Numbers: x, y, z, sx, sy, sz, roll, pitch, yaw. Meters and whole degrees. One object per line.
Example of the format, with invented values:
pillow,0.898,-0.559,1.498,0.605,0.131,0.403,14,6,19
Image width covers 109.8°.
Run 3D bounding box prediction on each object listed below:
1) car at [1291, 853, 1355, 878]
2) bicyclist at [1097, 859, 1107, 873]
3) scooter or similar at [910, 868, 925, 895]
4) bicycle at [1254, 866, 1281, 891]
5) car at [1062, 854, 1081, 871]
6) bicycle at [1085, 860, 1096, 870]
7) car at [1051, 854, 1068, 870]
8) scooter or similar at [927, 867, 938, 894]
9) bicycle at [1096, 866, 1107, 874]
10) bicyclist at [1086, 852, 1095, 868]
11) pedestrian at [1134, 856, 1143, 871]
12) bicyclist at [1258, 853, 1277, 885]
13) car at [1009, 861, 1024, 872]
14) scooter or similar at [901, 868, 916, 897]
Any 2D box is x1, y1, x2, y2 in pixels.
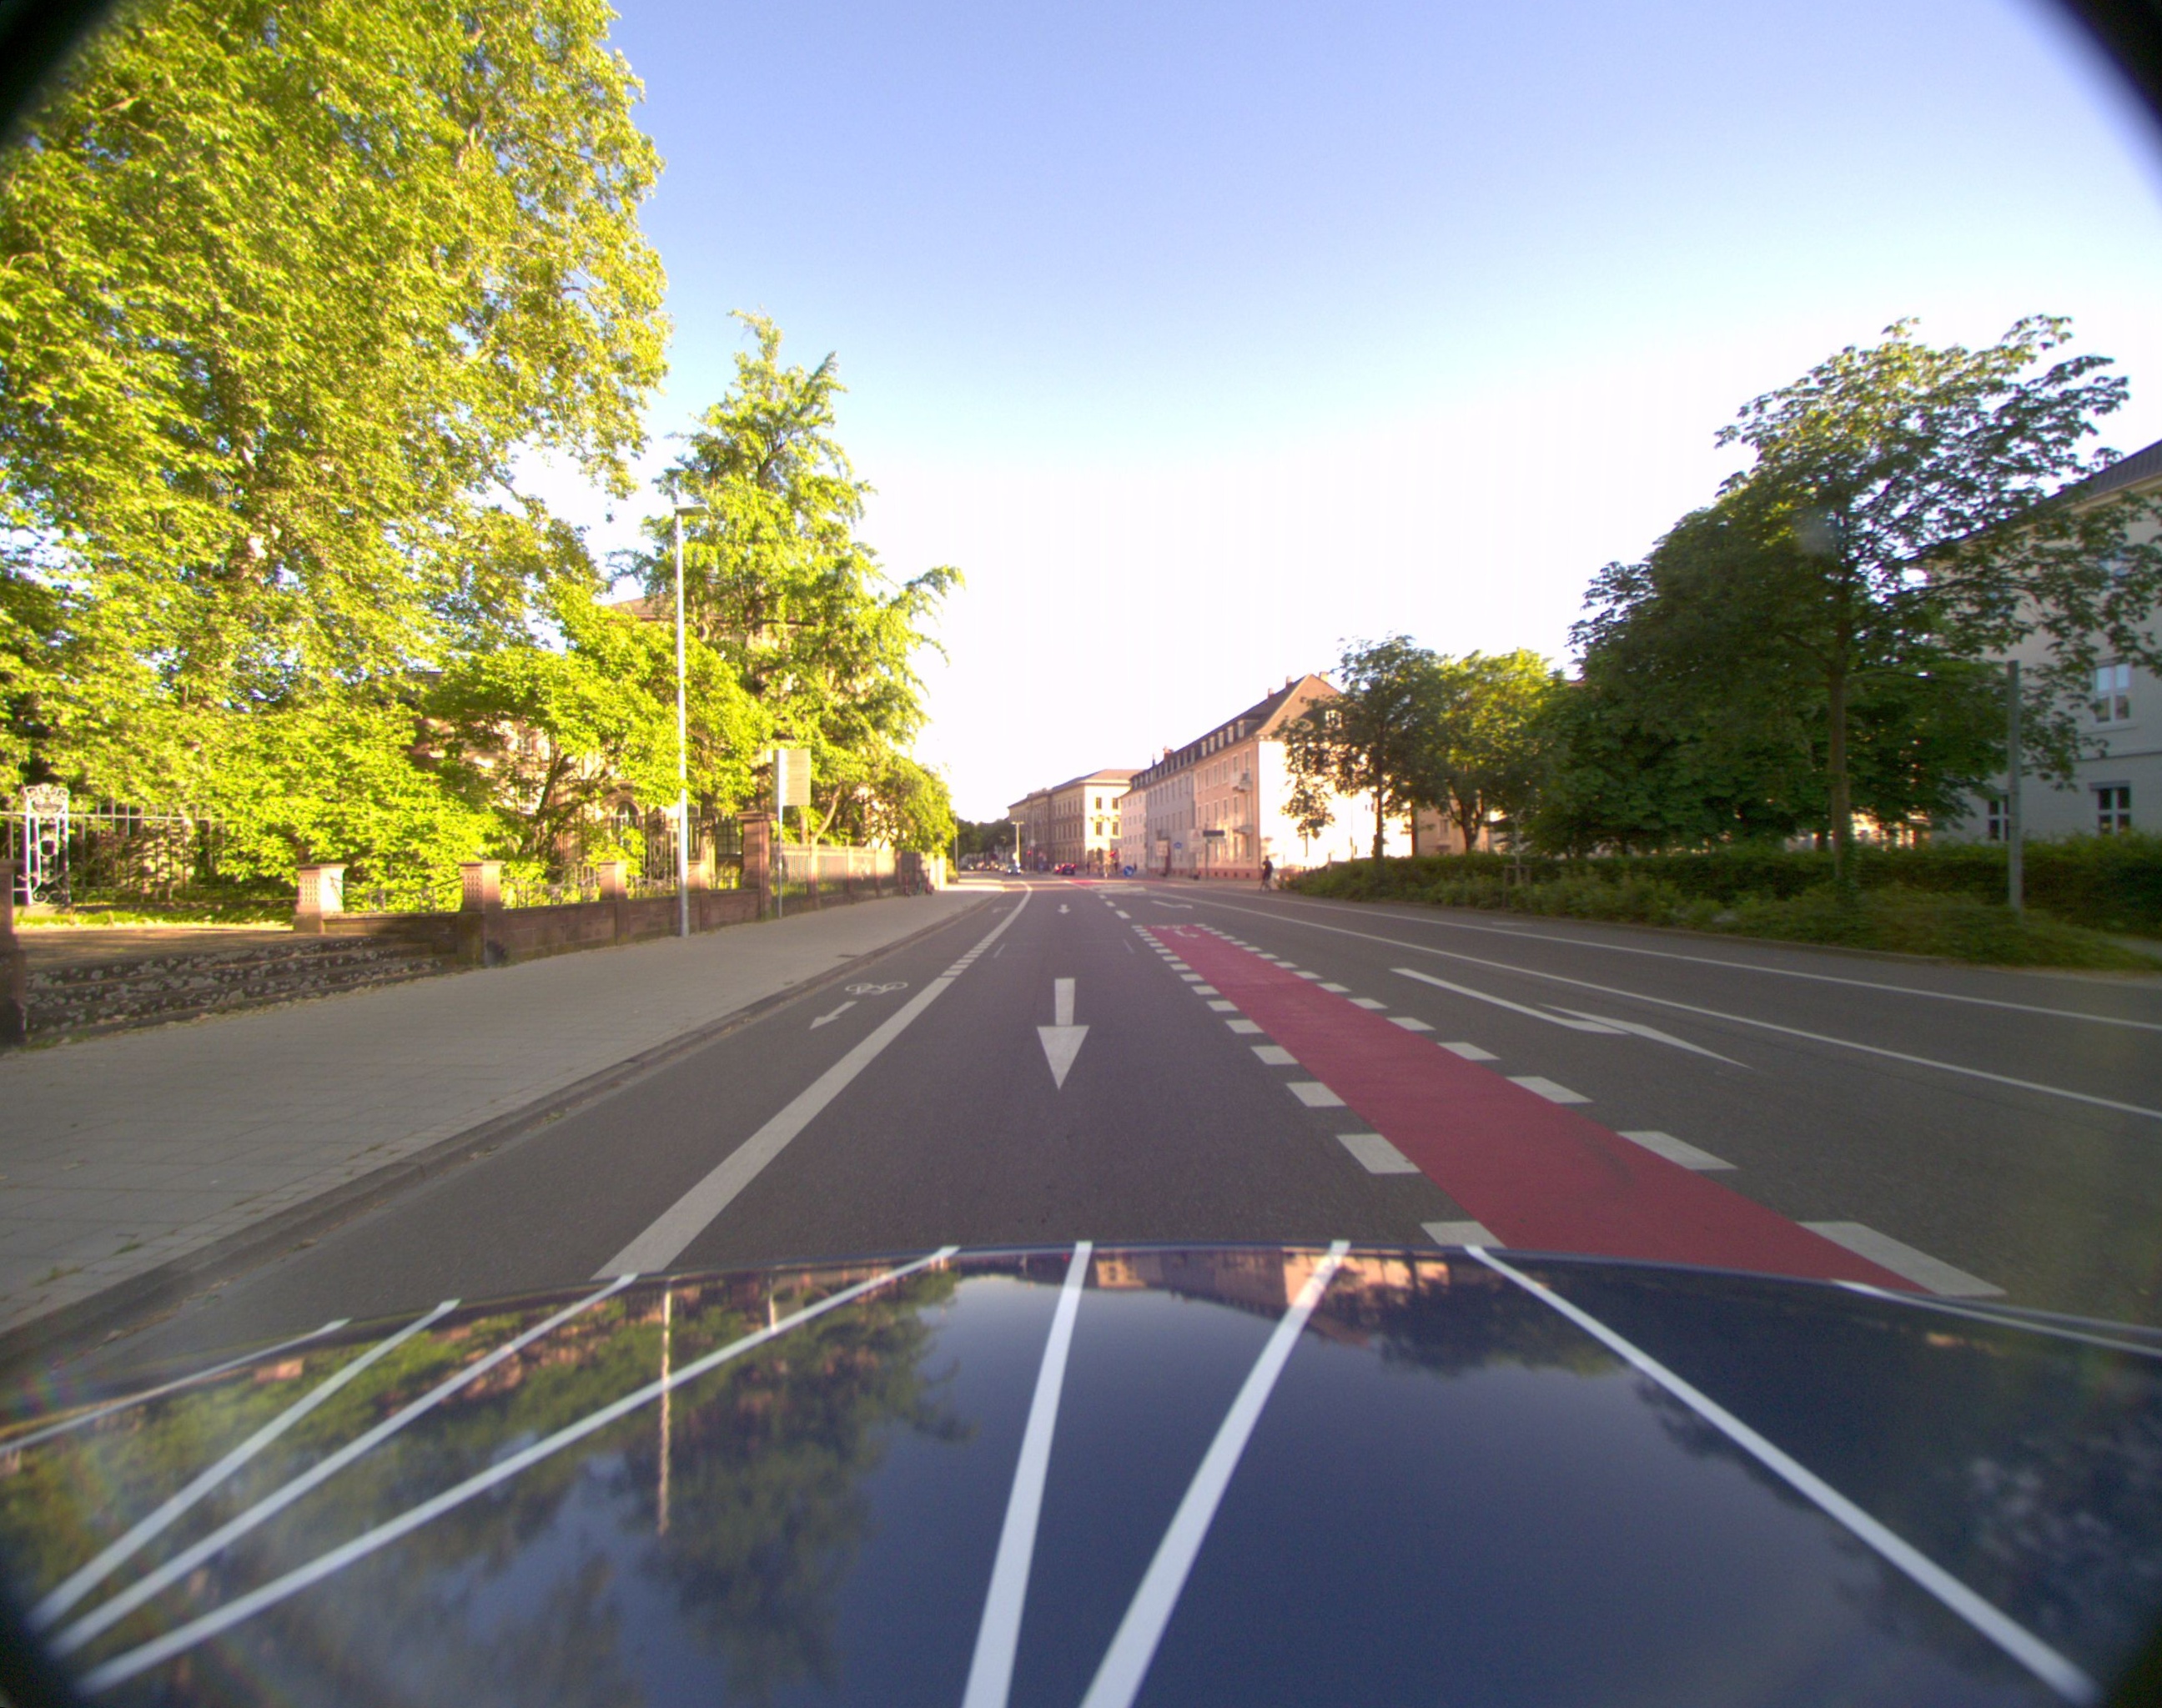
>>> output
car,17.651,0.795,55.510,4.000,1.652,1.998,-2,1,-9
bicyclist,2.293,1.317,82.949,1.026,1.481,0.870,0,0,-9
scooter or similar,-7.497,1.239,34.874,0.576,1.177,1.487,0,0,-7
bicycle,9.222,1.207,37.706,0.697,1.152,2.245,1,0,-3
car,-1.238,1.043,92.820,1.999,2.002,3.998,0,0,-5
bicycle,1.205,1.413,97.395,0.956,1.216,2.777,0,0,-9
car,-2.833,1.060,99.784,1.999,2.002,3.998,0,0,-5
scooter or similar,-7.021,1.229,35.955,0.517,1.233,1.521,0,0,-11
bicycle,2.254,1.755,83.212,0.663,0.907,2.861,0,0,-9
bicyclist,1.205,0.728,97.303,0.956,2.002,1.307,0,0,-9
pedestrian,7.687,1.299,101.999,0.949,1.894,1.062,-2,1,-7
bicyclist,9.231,0.731,37.586,0.691,1.553,0.838,0,0,-3
car,-8.325,1.635,98.183,1.709,1.397,4.263,0,0,-3
scooter or similar,-7.487,1.222,33.022,0.576,1.246,1.486,0,0,-15
